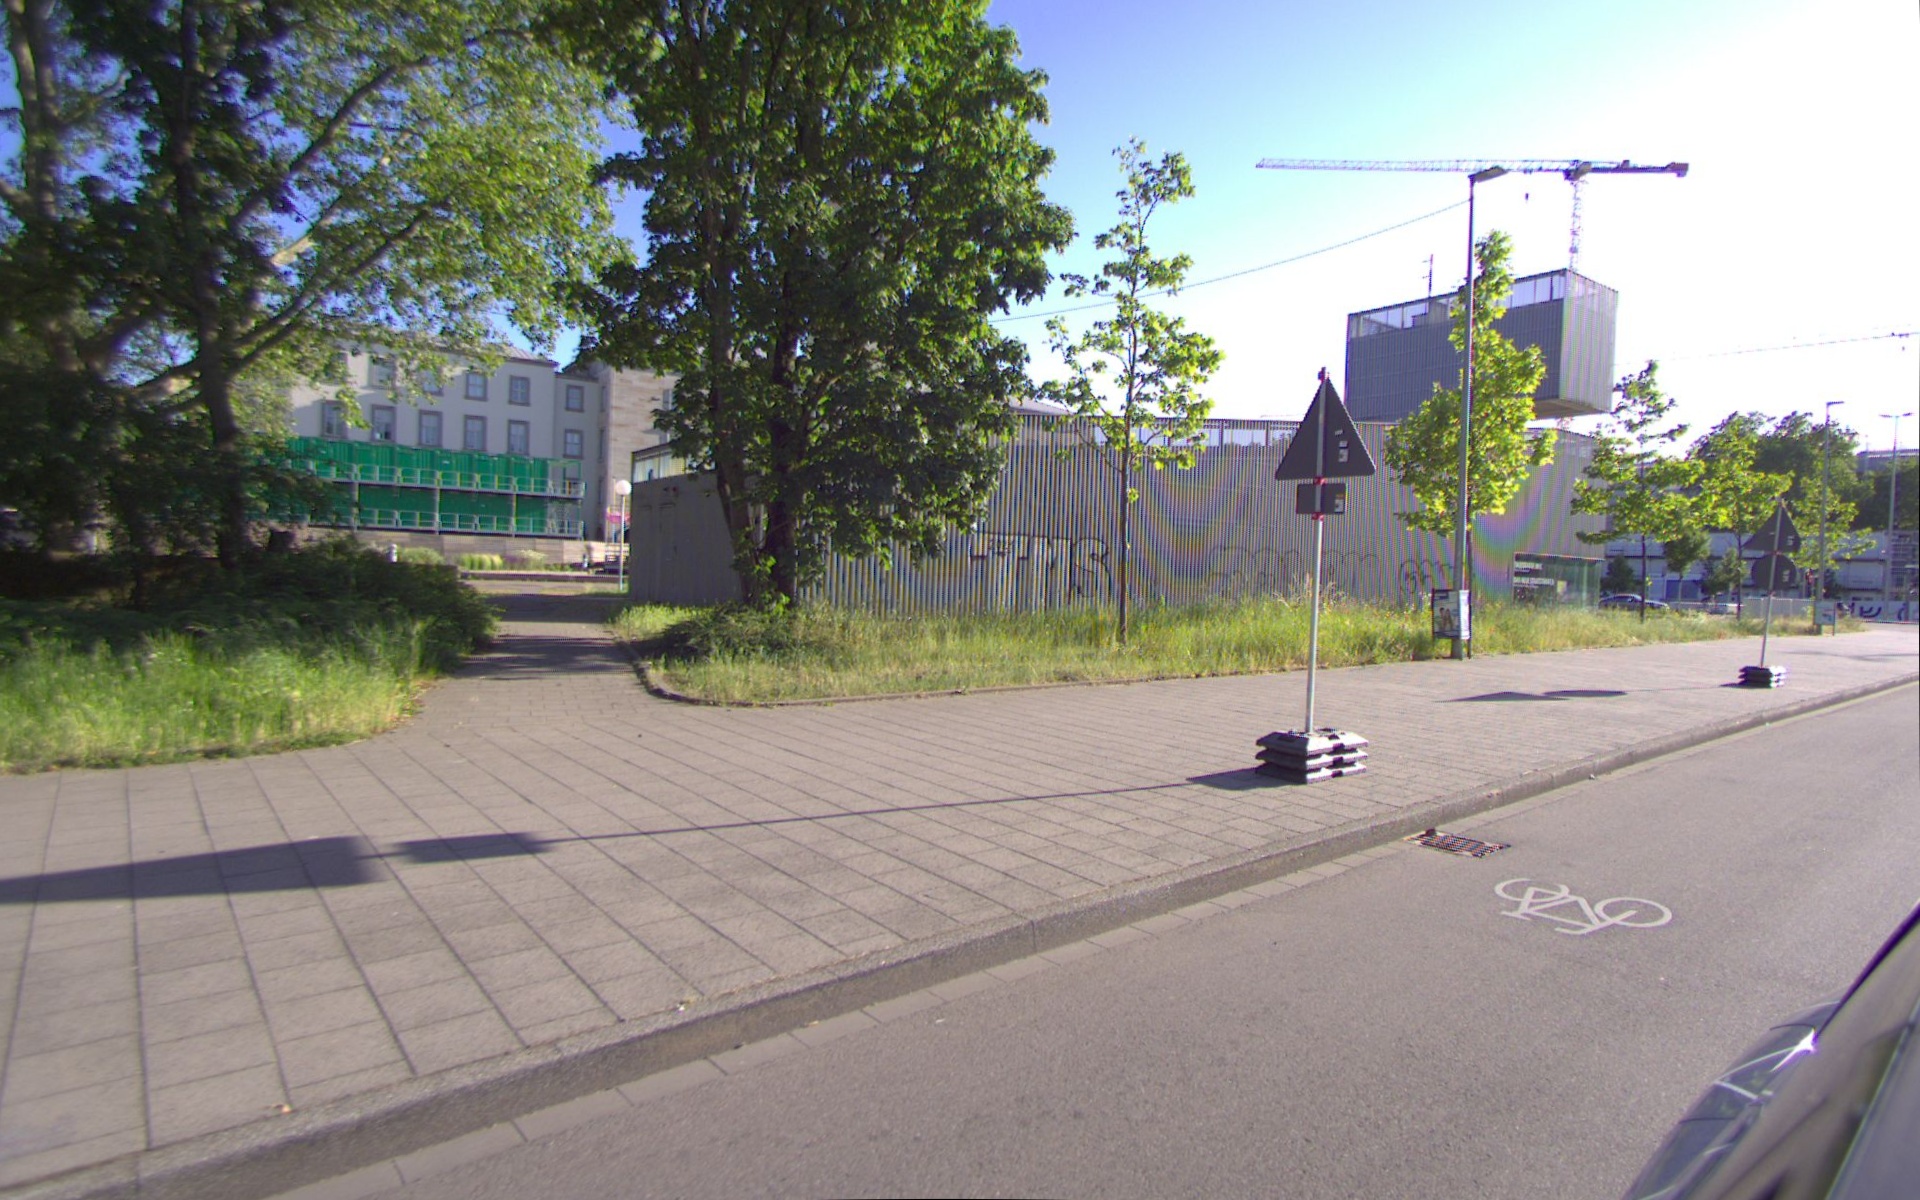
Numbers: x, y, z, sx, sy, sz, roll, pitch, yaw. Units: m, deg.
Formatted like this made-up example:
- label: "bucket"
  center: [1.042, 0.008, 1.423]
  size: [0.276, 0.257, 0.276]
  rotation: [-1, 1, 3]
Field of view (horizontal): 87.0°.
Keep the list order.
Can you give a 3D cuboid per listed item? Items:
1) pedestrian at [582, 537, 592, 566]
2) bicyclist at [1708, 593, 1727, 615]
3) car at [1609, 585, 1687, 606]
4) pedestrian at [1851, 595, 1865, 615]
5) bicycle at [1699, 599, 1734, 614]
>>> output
- label: "pedestrian"
  center: [-19.845, -2.578, 53.852]
  size: [0.395, 1.498, 0.315]
  rotation: [2, 1, -3]
- label: "bicyclist"
  center: [53.729, 0.272, 71.809]
  size: [0.614, 1.522, 0.935]
  rotation: [0, 2, -44]
- label: "car"
  center: [52.098, -0.358, 76.746]
  size: [1.742, 1.368, 4.531]
  rotation: [0, 3, -32]
- label: "pedestrian"
  center: [77.044, 0.404, 86.796]
  size: [0.824, 1.701, 0.655]
  rotation: [1, 1, -33]
- label: "bicycle"
  center: [53.709, 0.454, 71.824]
  size: [0.614, 0.920, 1.906]
  rotation: [-1, 3, -44]
